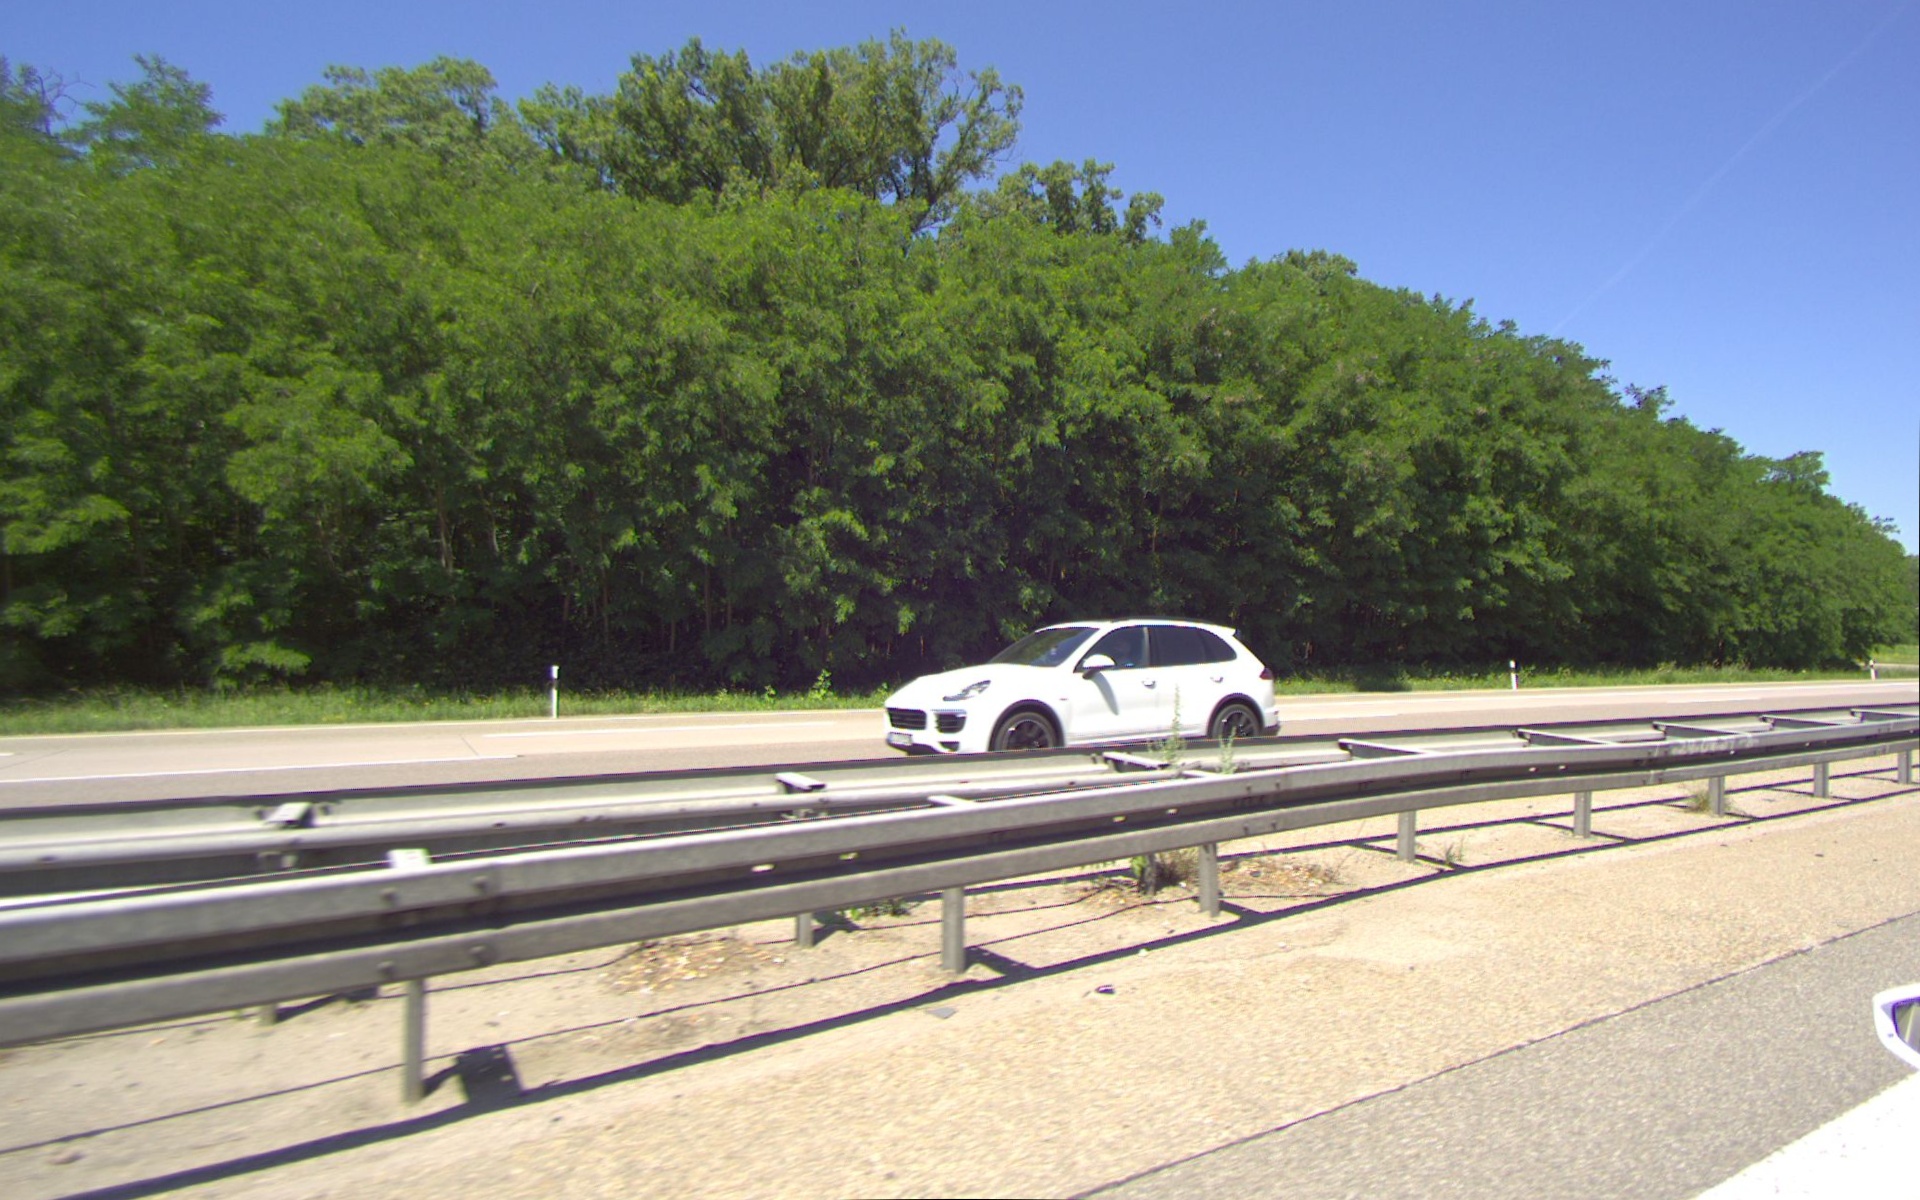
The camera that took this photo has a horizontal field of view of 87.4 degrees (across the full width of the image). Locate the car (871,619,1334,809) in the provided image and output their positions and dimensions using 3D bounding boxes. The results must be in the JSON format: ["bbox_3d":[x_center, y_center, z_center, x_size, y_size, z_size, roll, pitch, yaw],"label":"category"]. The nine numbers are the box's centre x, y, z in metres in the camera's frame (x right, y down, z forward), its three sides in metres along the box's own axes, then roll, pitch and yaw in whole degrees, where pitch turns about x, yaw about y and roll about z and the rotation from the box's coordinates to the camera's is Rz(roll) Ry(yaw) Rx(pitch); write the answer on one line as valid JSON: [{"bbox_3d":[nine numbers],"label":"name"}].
[{"bbox_3d":[1.751,1.111,11.578,5.203,1.729,1.984,1,0,-30],"label":"car"}]
